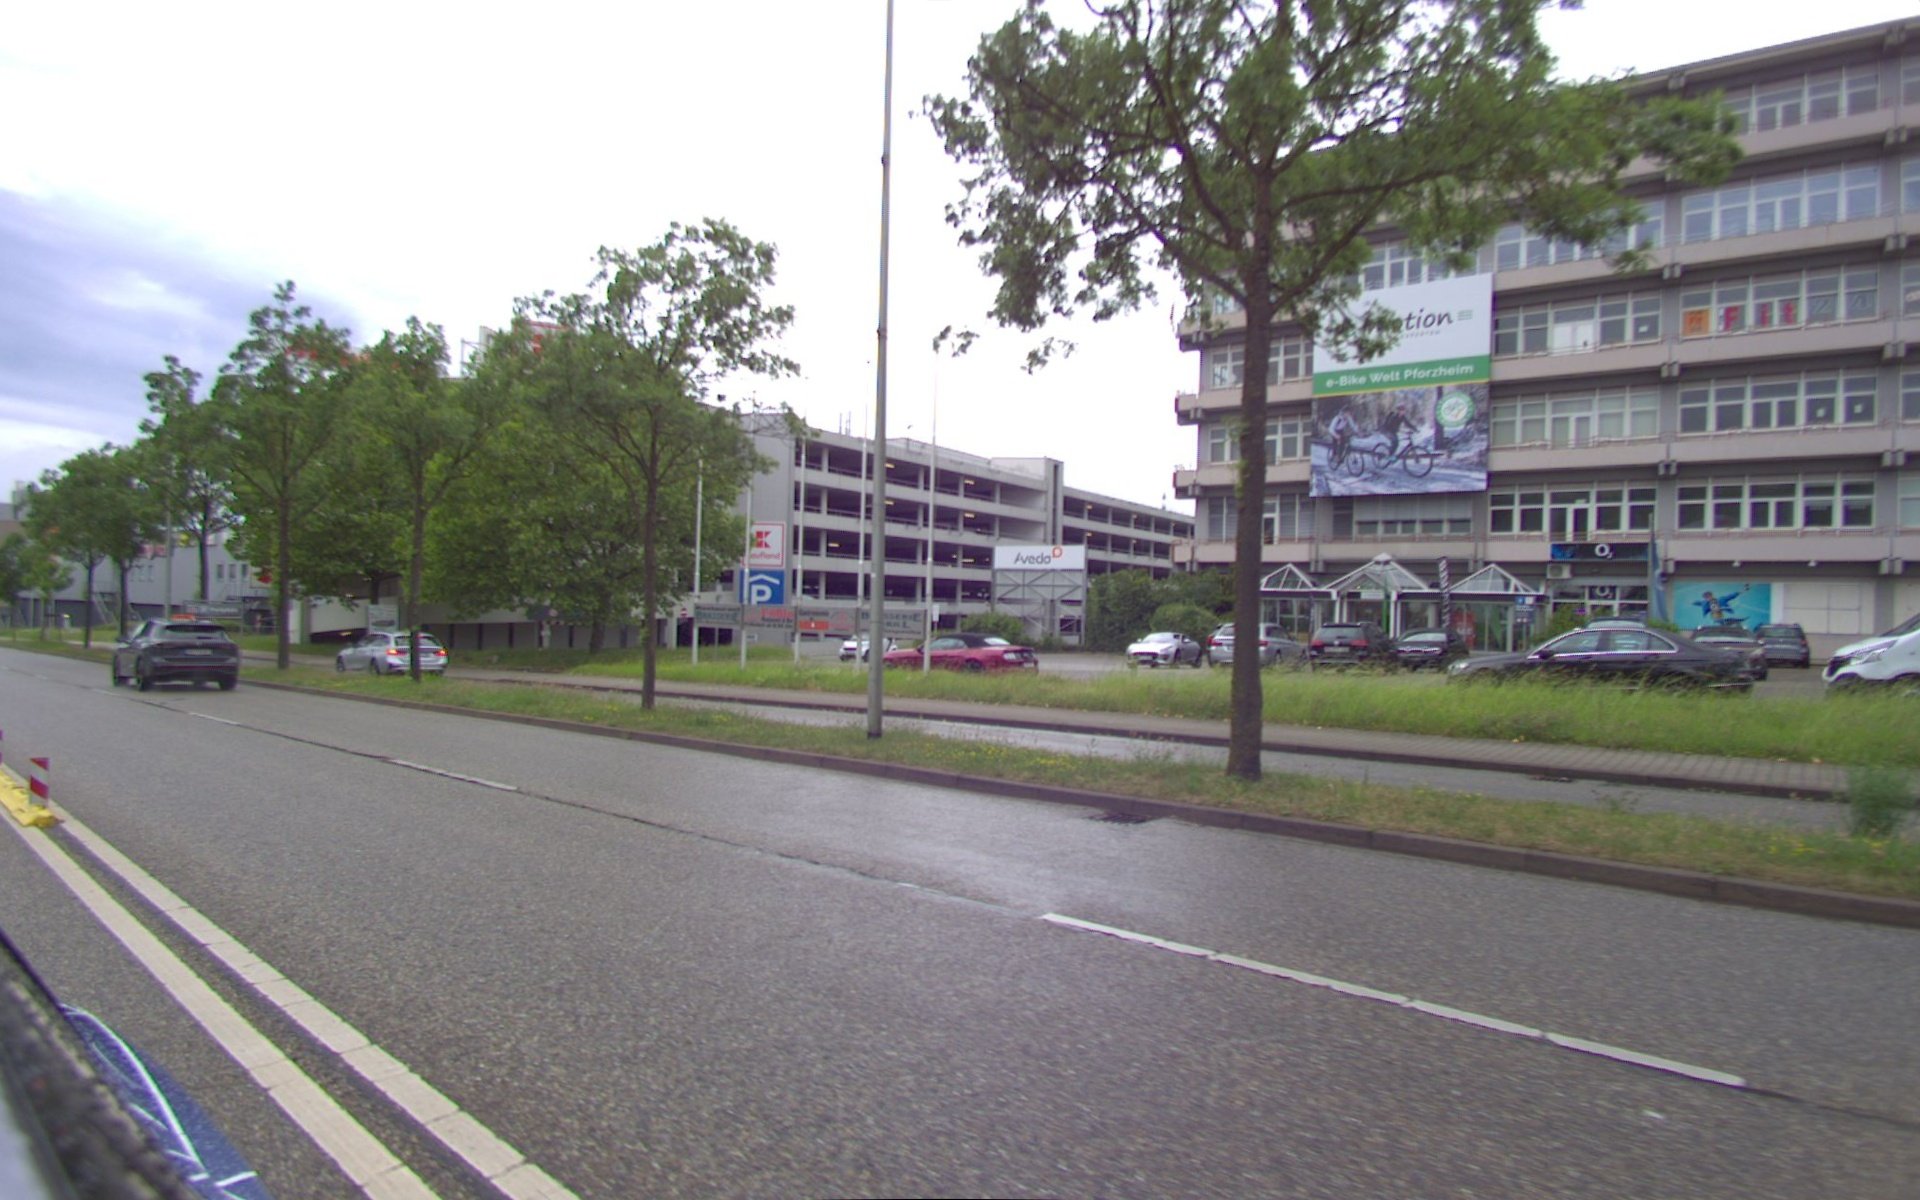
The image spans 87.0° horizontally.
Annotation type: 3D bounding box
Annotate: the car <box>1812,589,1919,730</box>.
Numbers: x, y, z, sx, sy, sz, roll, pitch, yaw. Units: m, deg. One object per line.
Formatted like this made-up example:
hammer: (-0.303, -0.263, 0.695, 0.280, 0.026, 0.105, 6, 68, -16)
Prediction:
car: (16.328, 0.829, 15.139, 5.104, 2.112, 2.098, -3, -2, 32)

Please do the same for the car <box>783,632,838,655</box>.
car: (-10.671, 3.071, 72.341, 3.787, 1.473, 1.754, -1, 1, -3)

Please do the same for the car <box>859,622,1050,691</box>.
car: (-0.202, 1.448, 26.183, 4.701, 1.621, 1.916, -3, -2, 36)

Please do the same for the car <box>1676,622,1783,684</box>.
car: (21.299, 1.426, 28.176, 1.940, 1.522, 4.145, -3, -1, 32)

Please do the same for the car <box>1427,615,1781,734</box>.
car: (11.094, 1.239, 17.704, 4.938, 1.775, 2.020, -3, -2, 38)

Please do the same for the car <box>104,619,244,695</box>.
car: (-18.726, 1.309, 24.048, 4.434, 1.626, 1.769, -1, -4, 41)

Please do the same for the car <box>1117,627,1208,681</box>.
car: (7.507, 1.931, 37.147, 1.958, 1.759, 4.568, -3, -1, 29)

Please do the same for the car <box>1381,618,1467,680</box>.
car: (14.955, 1.524, 32.499, 1.894, 1.759, 4.464, -3, -1, 32)

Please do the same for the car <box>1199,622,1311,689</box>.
car: (8.839, 1.599, 30.075, 1.961, 1.759, 4.563, -3, -1, 32)

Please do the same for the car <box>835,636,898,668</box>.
car: (-4.202, 2.366, 45.571, 1.604, 1.376, 2.676, -3, -4, 30)

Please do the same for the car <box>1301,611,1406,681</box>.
car: (11.118, 1.226, 28.406, 1.894, 1.759, 4.464, -3, -1, 32)

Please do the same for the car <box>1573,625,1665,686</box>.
car: (18.977, 1.542, 29.265, 2.018, 1.522, 4.574, -3, -1, 32)

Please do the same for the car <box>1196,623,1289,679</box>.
car: (10.026, 1.771, 35.714, 2.124, 1.759, 4.568, -3, -1, 29)

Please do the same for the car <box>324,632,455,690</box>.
car: (-16.930, 1.765, 29.948, 4.572, 1.565, 1.848, -1, -4, 40)
